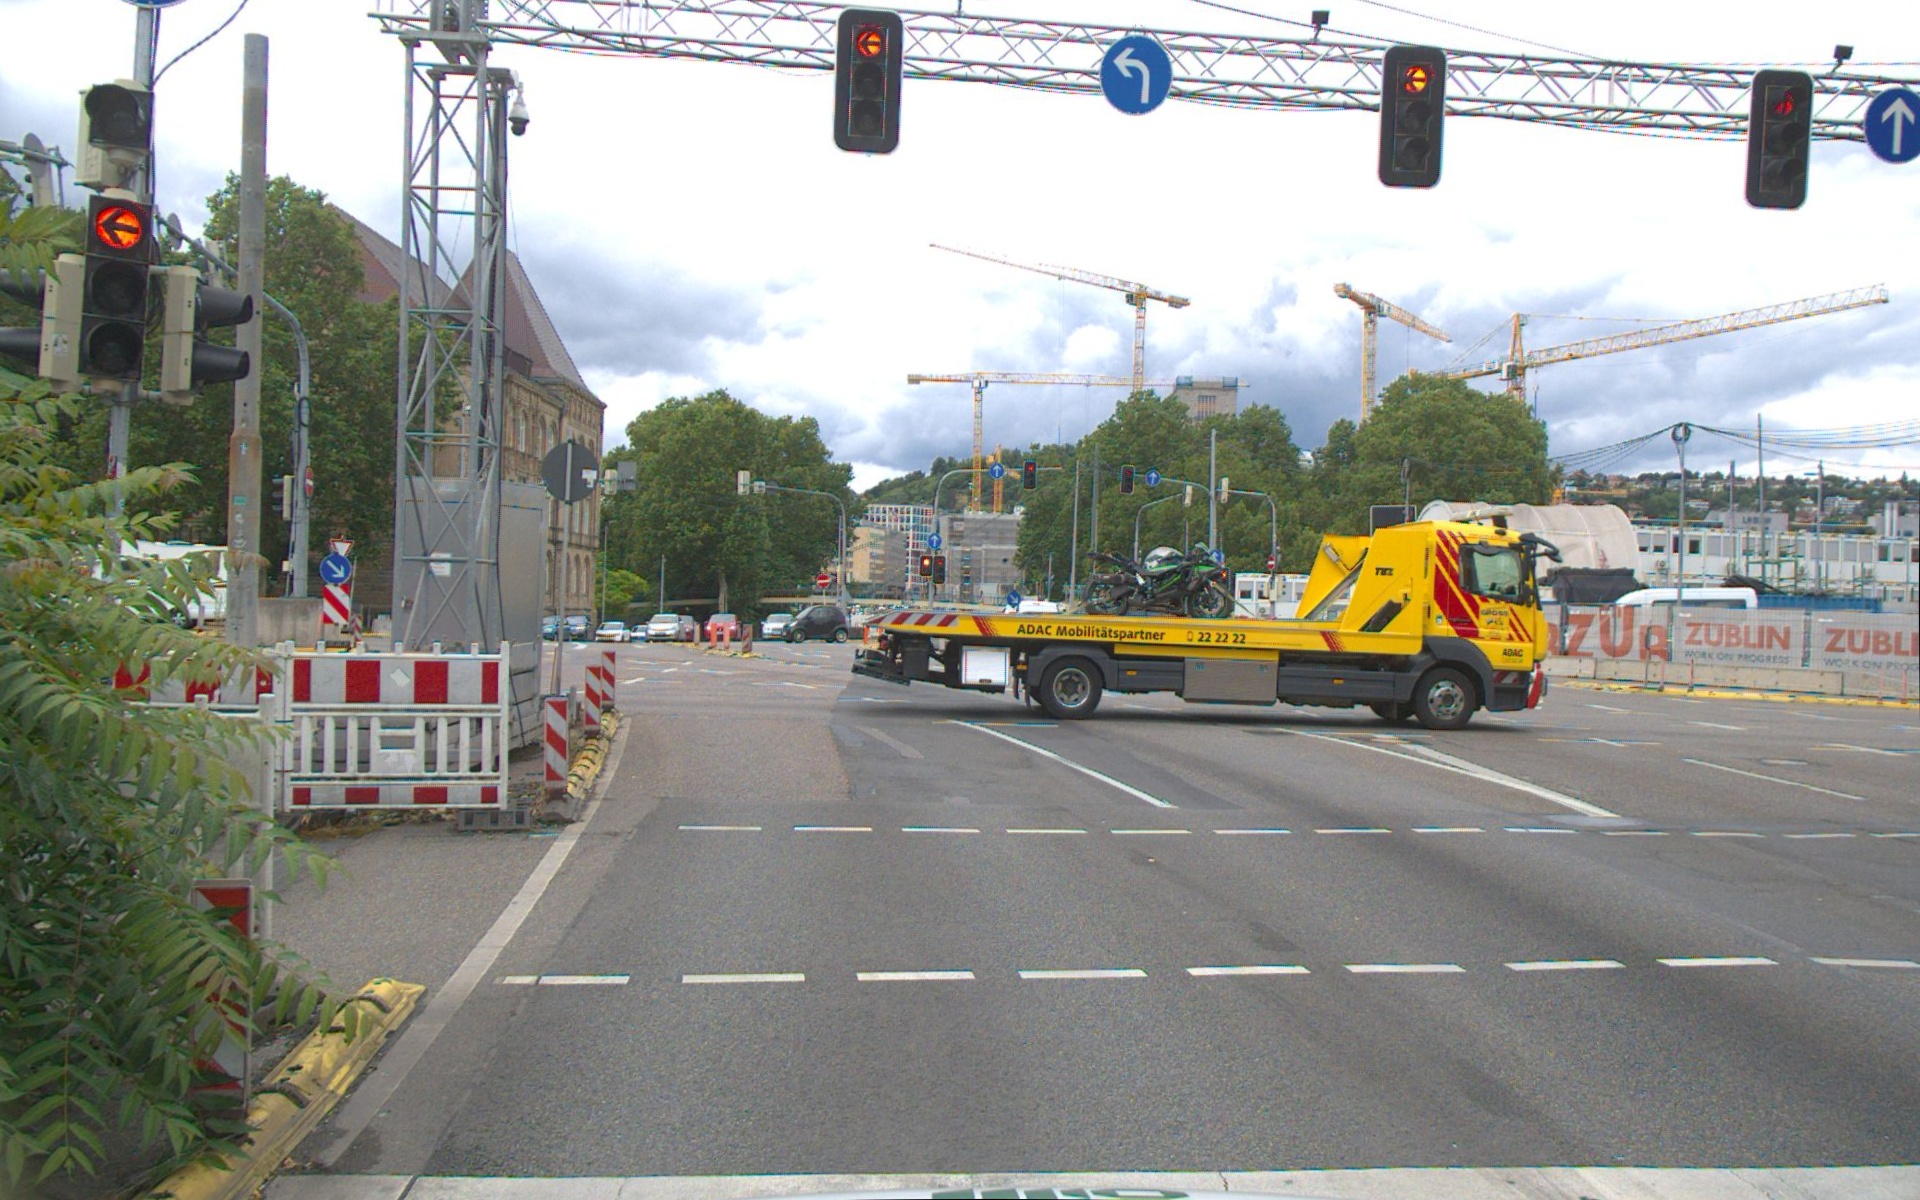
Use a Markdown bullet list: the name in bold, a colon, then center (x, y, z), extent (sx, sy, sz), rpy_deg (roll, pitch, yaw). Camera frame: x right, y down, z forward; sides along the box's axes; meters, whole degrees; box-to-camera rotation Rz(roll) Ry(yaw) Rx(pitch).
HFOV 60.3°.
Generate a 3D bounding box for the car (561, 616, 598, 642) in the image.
- **car**: center (-21.275, 1.609, 92.582), extent (1.644, 1.422, 3.677), rpy_deg (1, 0, -7)

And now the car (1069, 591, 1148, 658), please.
- **car**: center (4.124, 0.679, 46.542), extent (1.794, 1.776, 3.999), rpy_deg (1, 0, -1)

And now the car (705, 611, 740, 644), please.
- **car**: center (-12.115, 1.369, 84.525), extent (1.644, 1.608, 3.677), rpy_deg (1, 0, -7)

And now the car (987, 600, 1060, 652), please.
- **car**: center (2.086, 0.843, 55.556), extent (1.783, 1.653, 3.993), rpy_deg (1, 0, -8)

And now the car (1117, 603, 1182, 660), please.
- **car**: center (6.047, 0.990, 53.134), extent (1.642, 1.732, 3.374), rpy_deg (1, 0, -1)

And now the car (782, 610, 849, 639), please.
- **car**: center (-6.046, 1.023, 69.185), extent (2.642, 1.162, 1.354), rpy_deg (1, 0, -12)

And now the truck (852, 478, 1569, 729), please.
- **truck**: center (3.057, 0.055, 21.531), extent (8.802, 2.852, 2.625), rpy_deg (1, 0, -3)

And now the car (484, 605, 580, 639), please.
- **car**: center (-16.697, 0.852, 64.649), extent (3.543, 1.276, 1.676), rpy_deg (1, 0, -12)

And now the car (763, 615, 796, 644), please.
- **car**: center (-9.281, 1.512, 84.851), extent (1.644, 1.422, 3.677), rpy_deg (1, 0, -7)

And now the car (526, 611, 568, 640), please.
- **car**: center (-21.469, 1.307, 86.153), extent (1.644, 1.422, 3.677), rpy_deg (1, 0, -7)

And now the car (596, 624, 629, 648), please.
- **car**: center (-21.566, 2.232, 102.847), extent (1.644, 1.422, 3.677), rpy_deg (1, 0, -7)

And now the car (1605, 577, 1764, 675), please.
- **car**: center (20.828, 0.738, 47.686), extent (3.902, 2.708, 1.683), rpy_deg (1, 0, 13)

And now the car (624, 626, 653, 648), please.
- **car**: center (-22.514, 2.577, 115.903), extent (1.644, 1.422, 3.677), rpy_deg (1, 0, -7)

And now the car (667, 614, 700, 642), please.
- **car**: center (-15.286, 1.538, 91.546), extent (1.644, 1.422, 3.677), rpy_deg (1, 0, -7)

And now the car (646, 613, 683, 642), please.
- **car**: center (-15.247, 1.411, 85.387), extent (1.644, 1.422, 3.677), rpy_deg (1, 0, -7)

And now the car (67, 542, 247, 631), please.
- **car**: center (-27.497, -0.431, 56.836), extent (5.237, 2.906, 1.822), rpy_deg (1, 0, -17)
